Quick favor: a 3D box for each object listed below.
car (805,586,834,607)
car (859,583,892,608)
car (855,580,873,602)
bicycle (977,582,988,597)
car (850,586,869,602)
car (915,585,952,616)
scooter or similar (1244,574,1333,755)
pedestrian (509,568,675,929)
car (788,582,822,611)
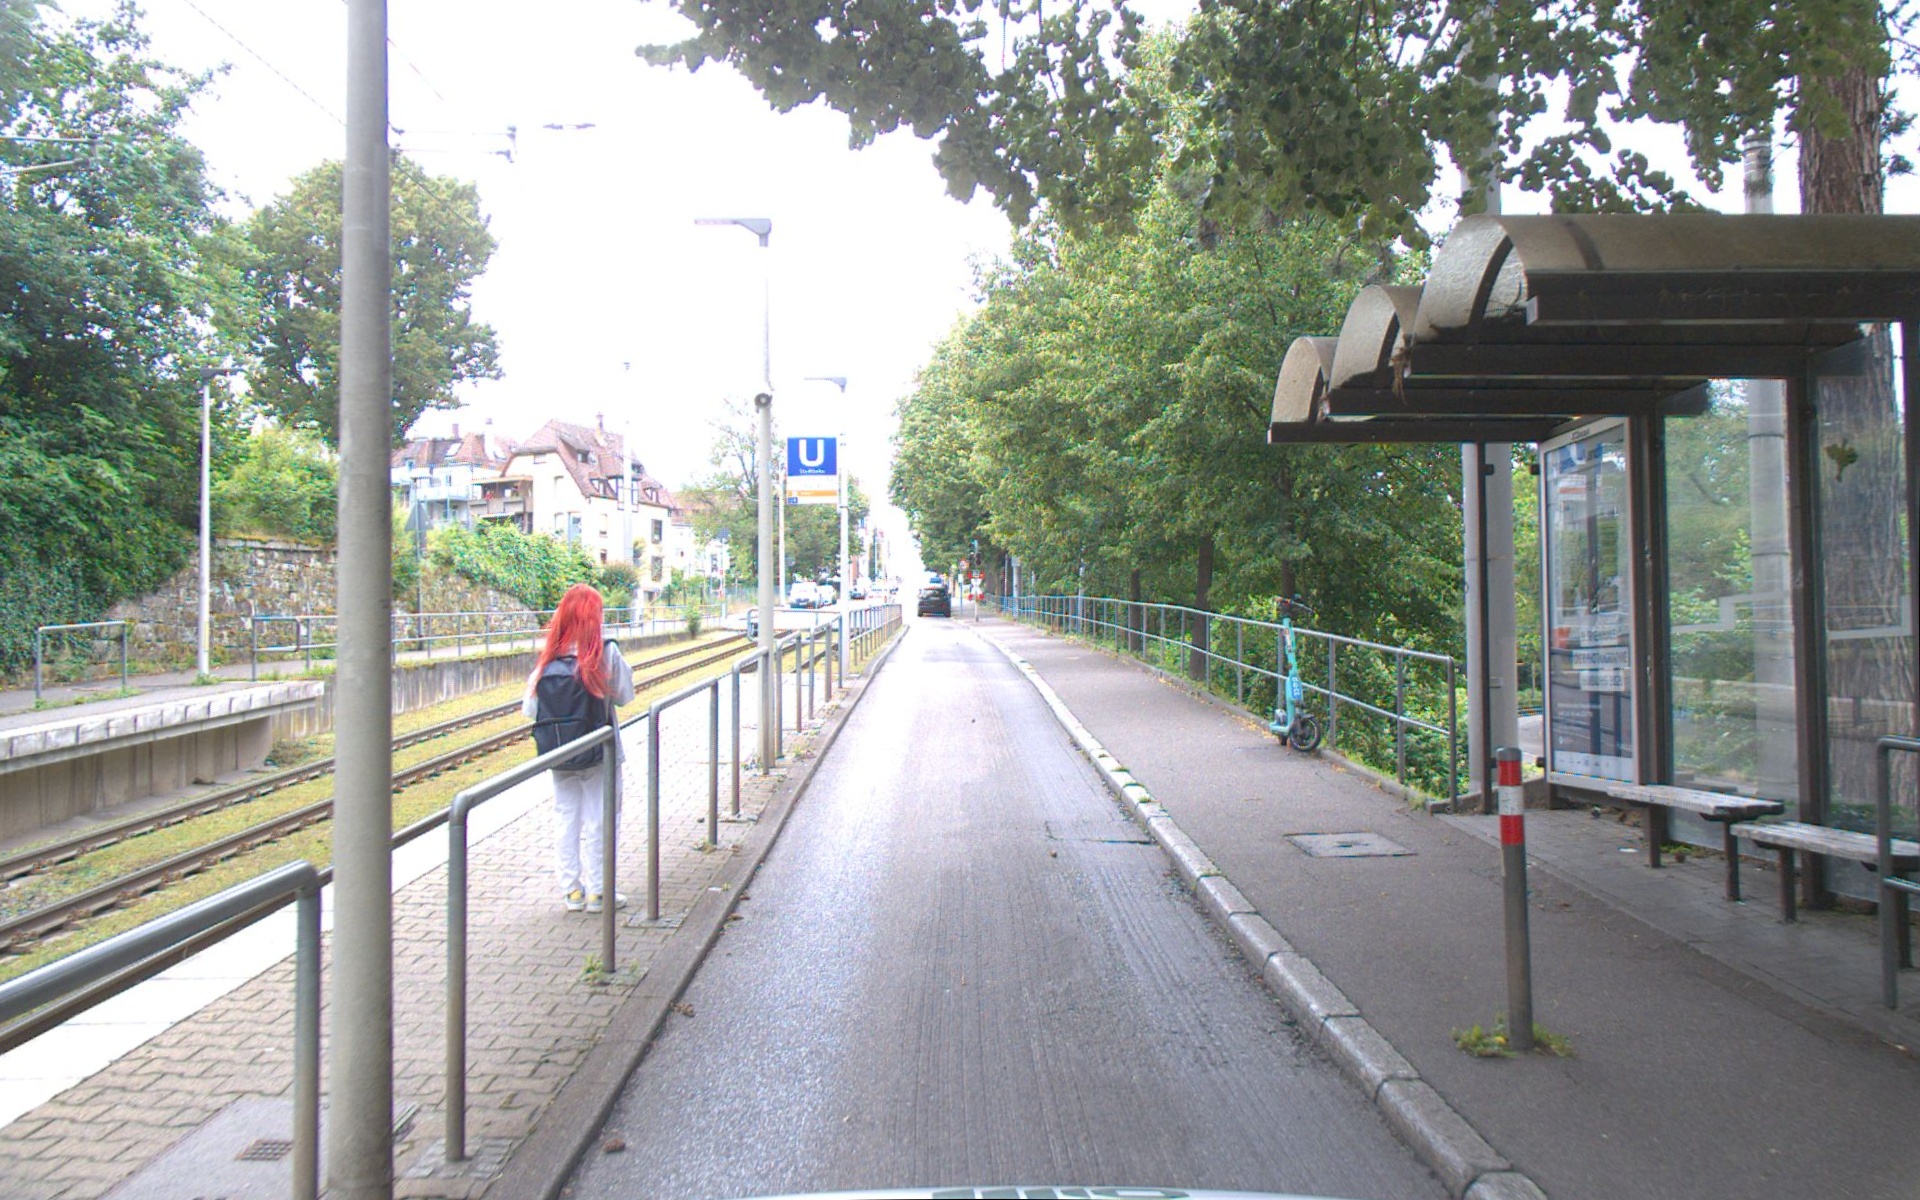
[{"bbox_3d":[-11.050,-0.271,130.370,1.847,1.552,4.662,-2,0,-1],"label":"car"},{"bbox_3d":[-5.348,-0.255,105.386,1.953,1.525,4.311,0,0,-1],"label":"car"},{"bbox_3d":[-12.244,-1.122,211.104,2.186,2.813,5.796,0,0,-3],"label":"car"},{"bbox_3d":[1.478,-0.689,109.988,0.419,0.993,1.790,0,-1,-10],"label":"bicycle"},{"bbox_3d":[-11.982,-0.721,196.614,1.952,1.840,4.000,0,0,1],"label":"car"},{"bbox_3d":[-1.437,0.012,90.376,1.865,1.643,4.600,1,0,0],"label":"car"},{"bbox_3d":[2.685,0.504,13.607,0.421,1.409,1.455,0,-1,-1],"label":"scooter or similar"},{"bbox_3d":[-1.626,0.623,7.388,0.612,1.528,0.739,0,1,-4],"label":"pedestrian"},{"bbox_3d":[-10.864,-0.243,115.999,1.995,1.914,4.883,-3,0,-2],"label":"car"}]
